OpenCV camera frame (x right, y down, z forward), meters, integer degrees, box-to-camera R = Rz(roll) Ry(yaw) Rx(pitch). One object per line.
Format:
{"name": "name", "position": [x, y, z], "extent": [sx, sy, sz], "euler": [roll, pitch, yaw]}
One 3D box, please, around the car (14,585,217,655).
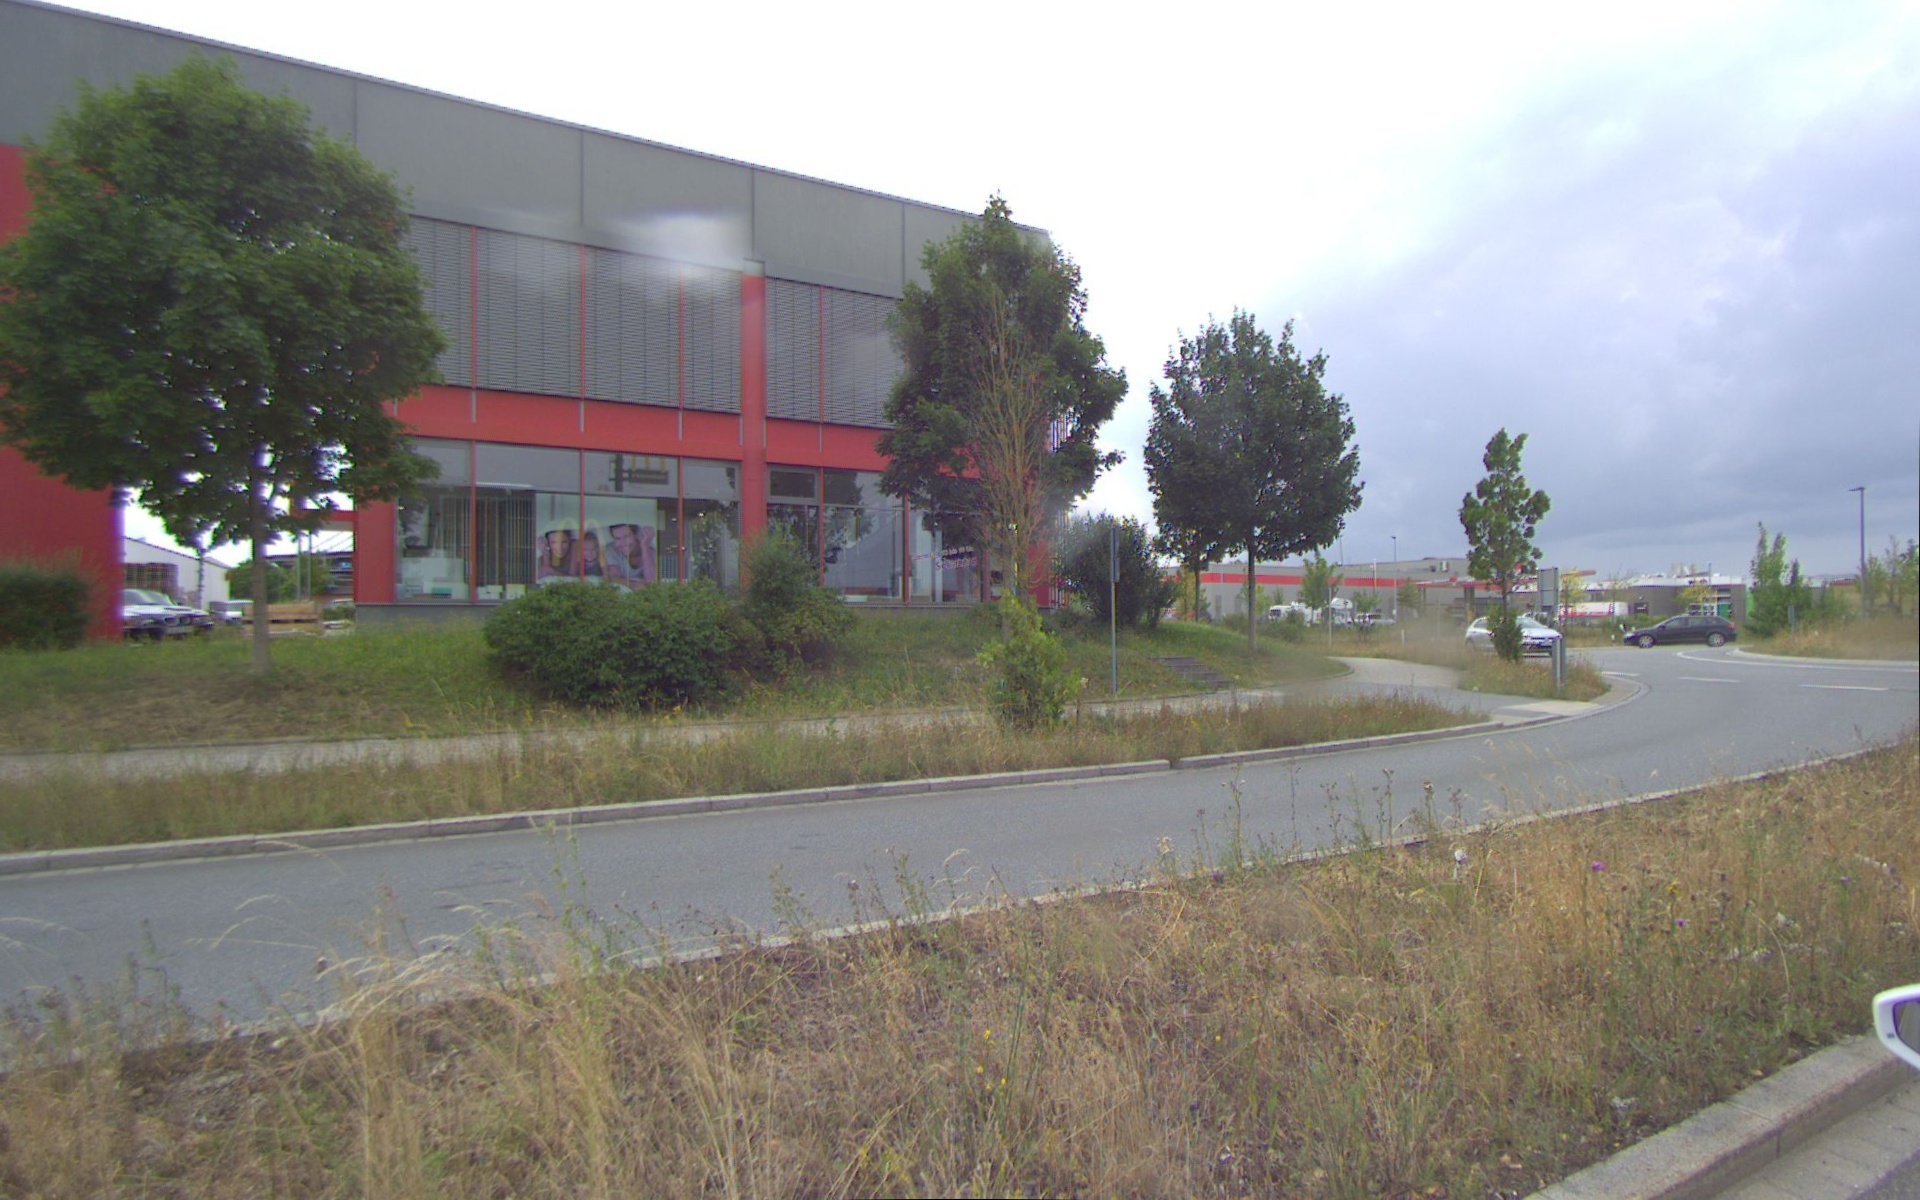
{"name": "car", "position": [-16.480, 0.394, 19.751], "extent": [2.826, 1.287, 1.253], "euler": [2, 0, -29]}

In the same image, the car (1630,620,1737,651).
{"name": "car", "position": [32.484, 1.577, 45.222], "extent": [3.781, 1.342, 1.467], "euler": [-1, -1, 32]}

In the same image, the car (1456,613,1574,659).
{"name": "car", "position": [19.658, 1.275, 35.764], "extent": [1.778, 1.483, 3.999], "euler": [-1, -2, -3]}

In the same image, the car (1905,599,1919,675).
{"name": "car", "position": [21.117, 0.665, 18.696], "extent": [1.916, 1.518, 4.750], "euler": [-2, -1, -22]}

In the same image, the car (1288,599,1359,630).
{"name": "car", "position": [36.282, 1.496, 100.163], "extent": [7.605, 2.857, 2.449], "euler": [2, 0, -32]}
